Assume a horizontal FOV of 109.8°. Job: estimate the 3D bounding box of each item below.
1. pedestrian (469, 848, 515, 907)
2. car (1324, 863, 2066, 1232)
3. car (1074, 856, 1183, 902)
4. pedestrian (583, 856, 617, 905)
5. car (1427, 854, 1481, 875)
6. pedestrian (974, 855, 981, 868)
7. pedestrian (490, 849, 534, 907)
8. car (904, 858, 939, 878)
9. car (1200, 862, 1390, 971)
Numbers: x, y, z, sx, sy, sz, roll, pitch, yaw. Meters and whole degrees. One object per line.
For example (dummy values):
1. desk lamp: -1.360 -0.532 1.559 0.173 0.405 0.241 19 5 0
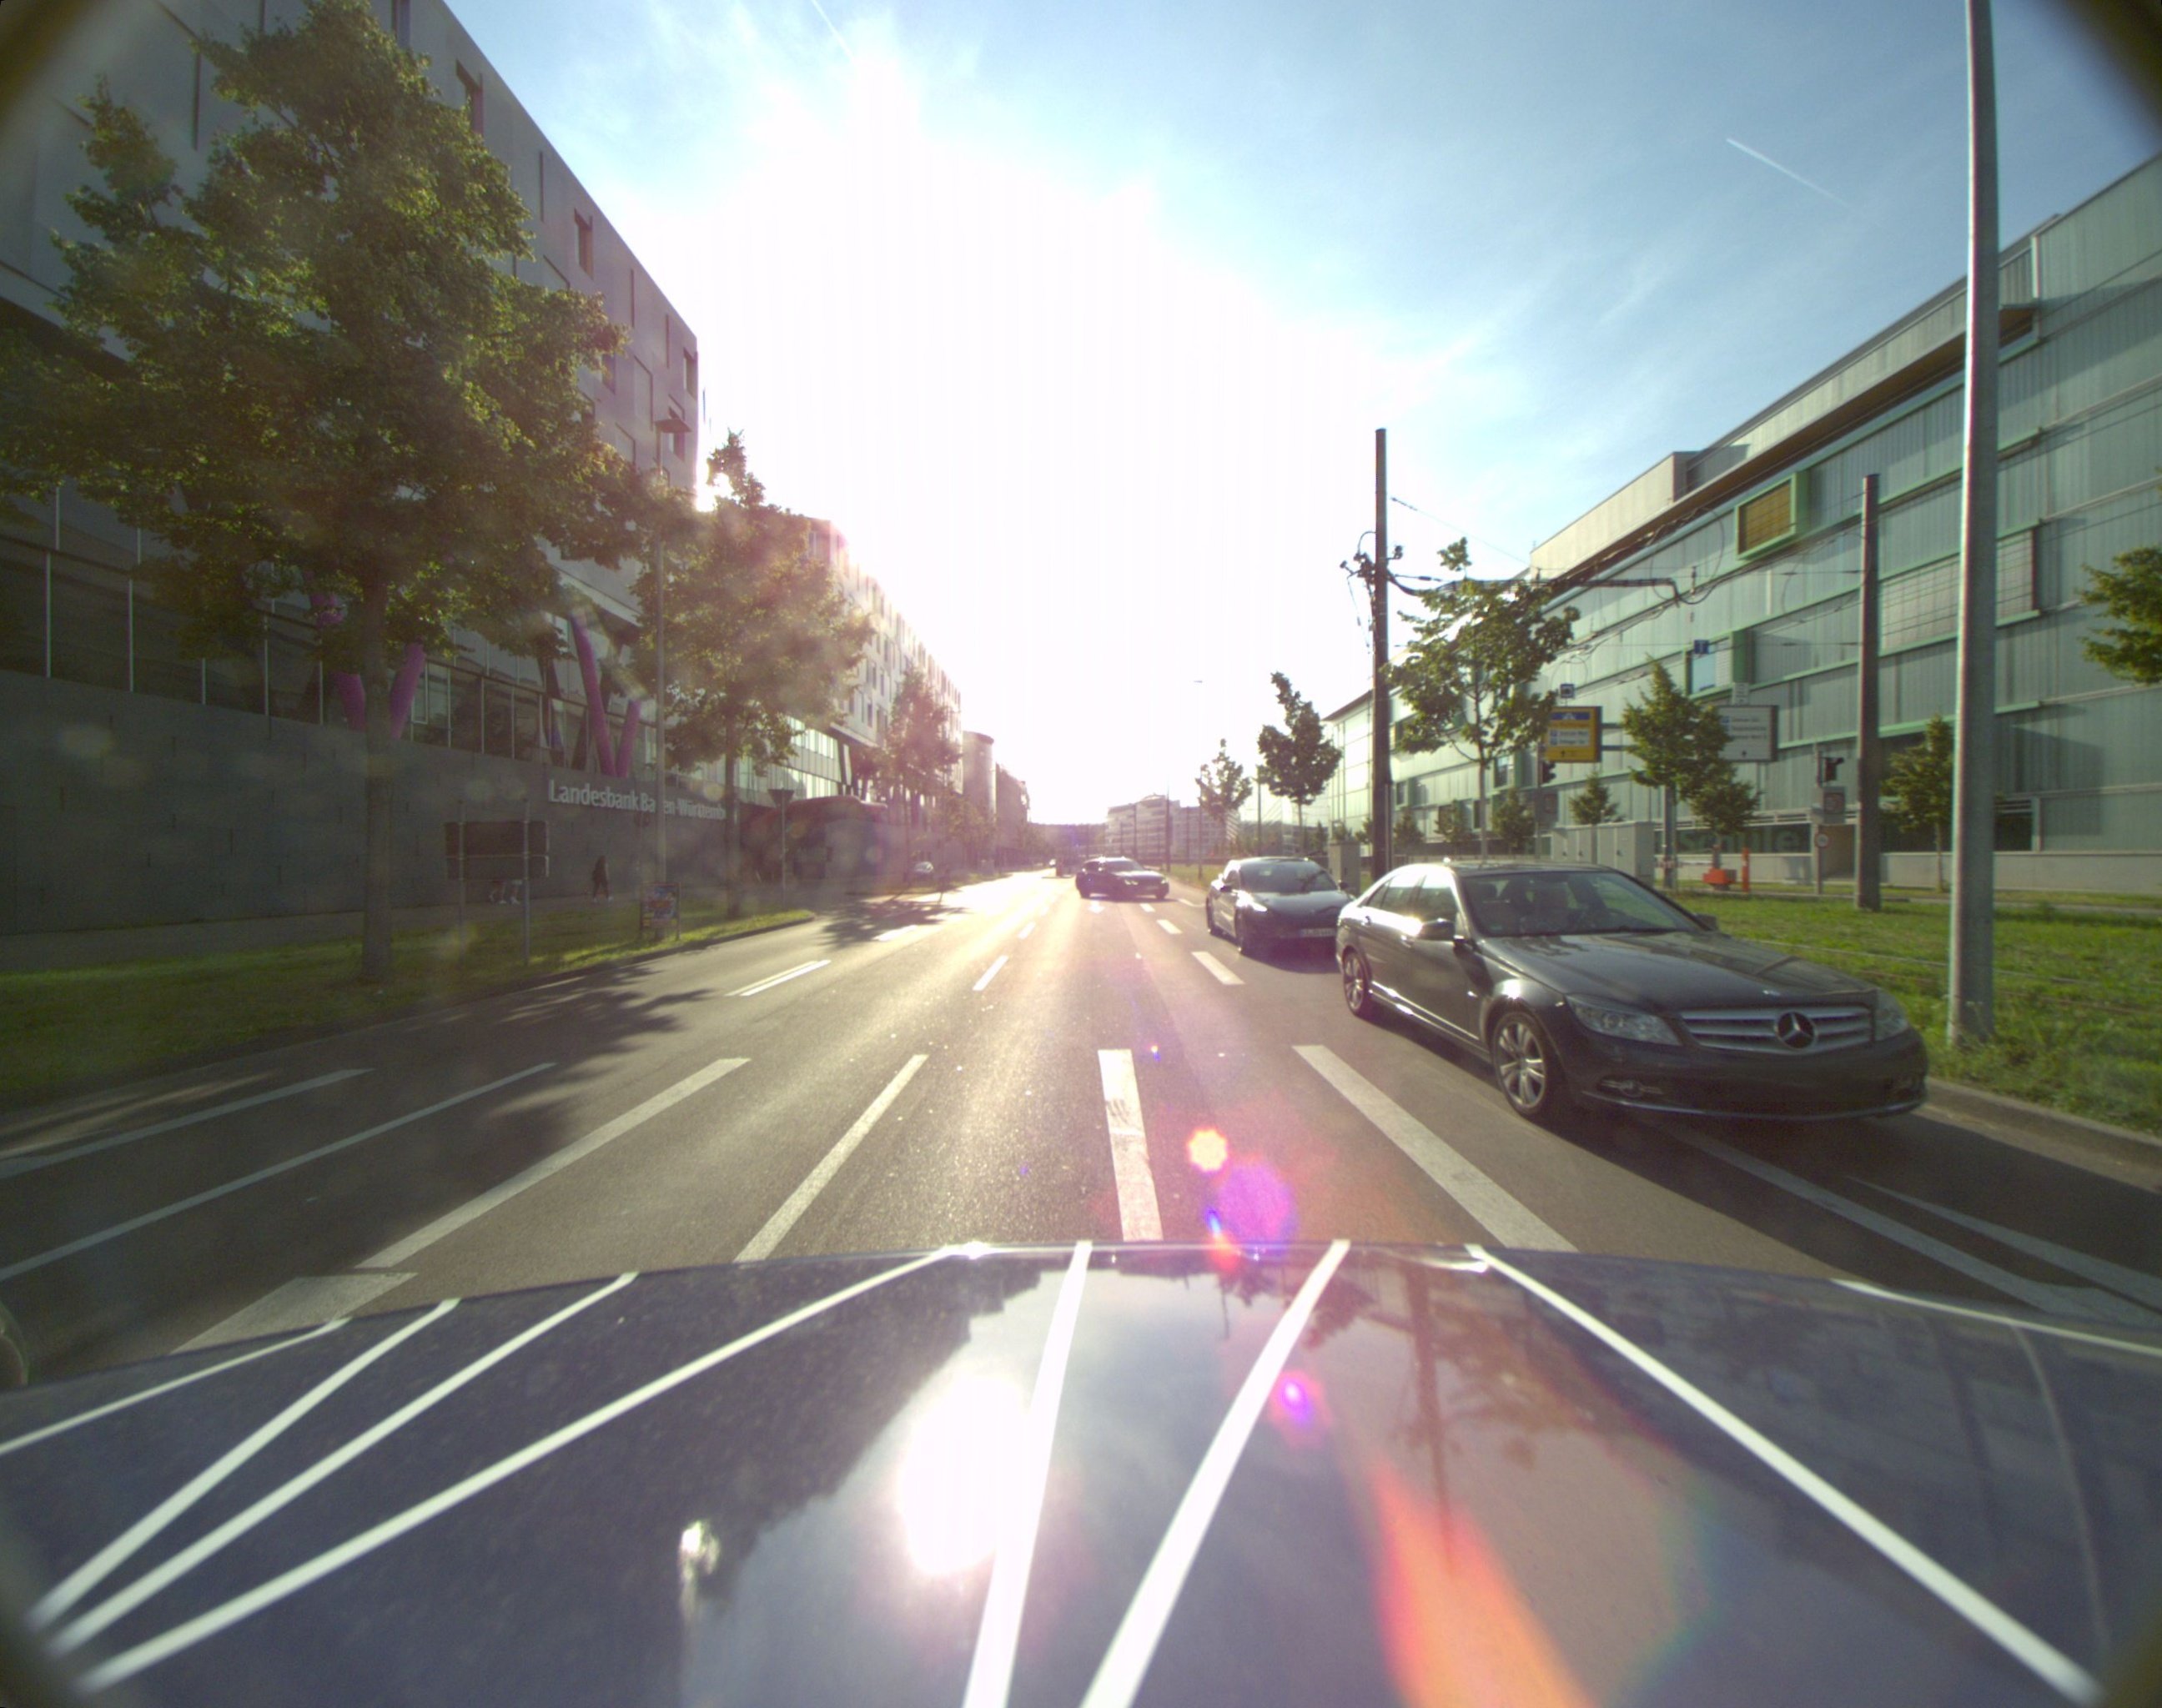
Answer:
1. pedestrian: -18.764 0.736 24.238 0.770 1.814 0.853 2 0 0
2. car: 3.263 0.847 5.369 1.791 1.470 4.354 -2 0 2
3. car: 1.585 0.874 27.371 1.898 1.418 4.464 -2 0 -26
4. pedestrian: -16.328 0.887 25.805 0.695 1.629 0.736 1 1 0
5. car: 27.560 0.763 56.264 1.882 1.519 4.223 0 0 -1
6. pedestrian: -13.925 1.037 102.174 0.725 1.776 0.771 0 1 0
7. pedestrian: -18.201 0.754 24.318 0.756 1.783 0.844 2 0 0
8. car: -11.607 0.994 55.575 1.696 1.382 4.199 0 -1 -1
9. car: 3.217 0.871 12.402 1.894 1.377 4.335 -2 0 1
